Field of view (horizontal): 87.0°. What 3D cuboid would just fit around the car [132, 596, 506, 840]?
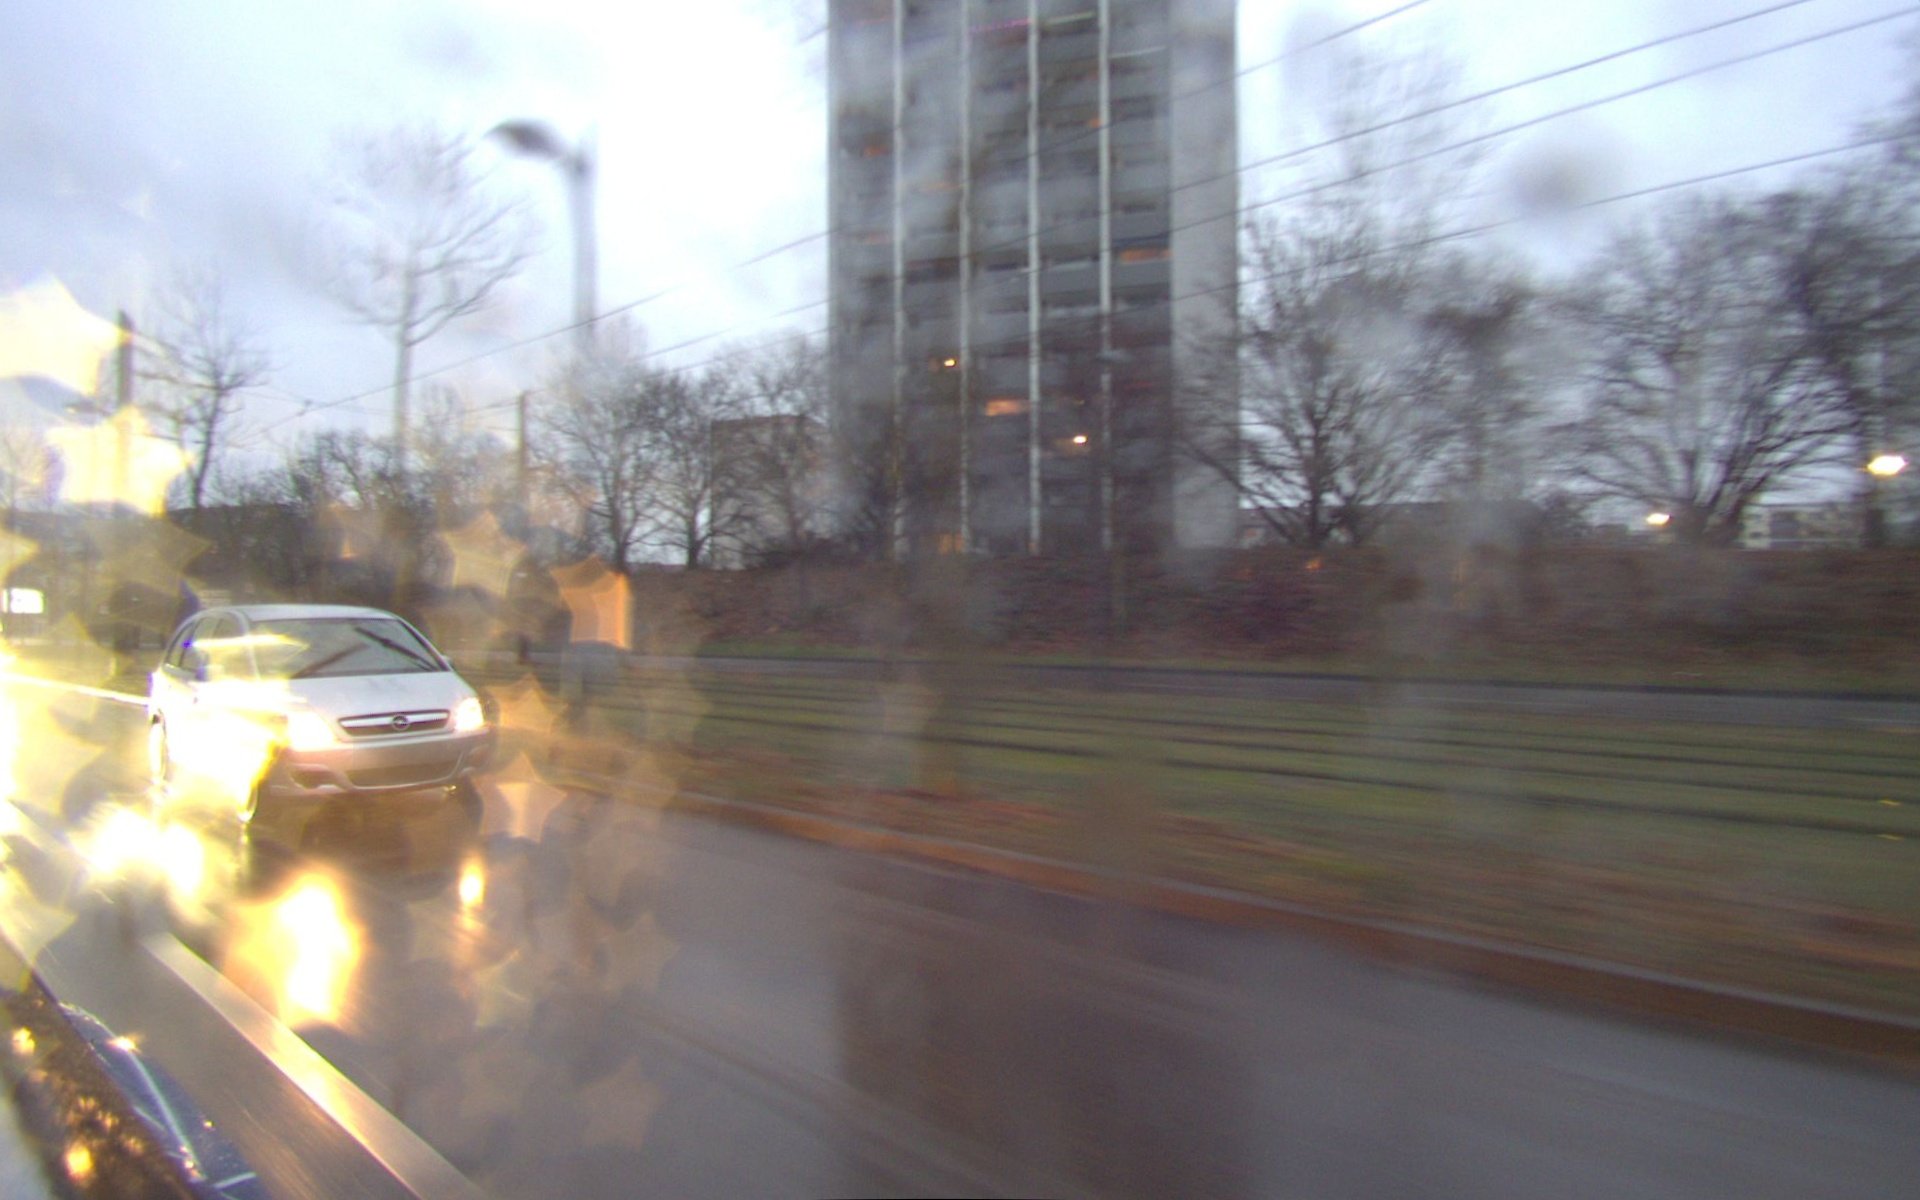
[{"bbox_3d":[-5.537,0.810,8.545,3.921,1.587,1.648,-2,-1,42],"label":"car"}]
